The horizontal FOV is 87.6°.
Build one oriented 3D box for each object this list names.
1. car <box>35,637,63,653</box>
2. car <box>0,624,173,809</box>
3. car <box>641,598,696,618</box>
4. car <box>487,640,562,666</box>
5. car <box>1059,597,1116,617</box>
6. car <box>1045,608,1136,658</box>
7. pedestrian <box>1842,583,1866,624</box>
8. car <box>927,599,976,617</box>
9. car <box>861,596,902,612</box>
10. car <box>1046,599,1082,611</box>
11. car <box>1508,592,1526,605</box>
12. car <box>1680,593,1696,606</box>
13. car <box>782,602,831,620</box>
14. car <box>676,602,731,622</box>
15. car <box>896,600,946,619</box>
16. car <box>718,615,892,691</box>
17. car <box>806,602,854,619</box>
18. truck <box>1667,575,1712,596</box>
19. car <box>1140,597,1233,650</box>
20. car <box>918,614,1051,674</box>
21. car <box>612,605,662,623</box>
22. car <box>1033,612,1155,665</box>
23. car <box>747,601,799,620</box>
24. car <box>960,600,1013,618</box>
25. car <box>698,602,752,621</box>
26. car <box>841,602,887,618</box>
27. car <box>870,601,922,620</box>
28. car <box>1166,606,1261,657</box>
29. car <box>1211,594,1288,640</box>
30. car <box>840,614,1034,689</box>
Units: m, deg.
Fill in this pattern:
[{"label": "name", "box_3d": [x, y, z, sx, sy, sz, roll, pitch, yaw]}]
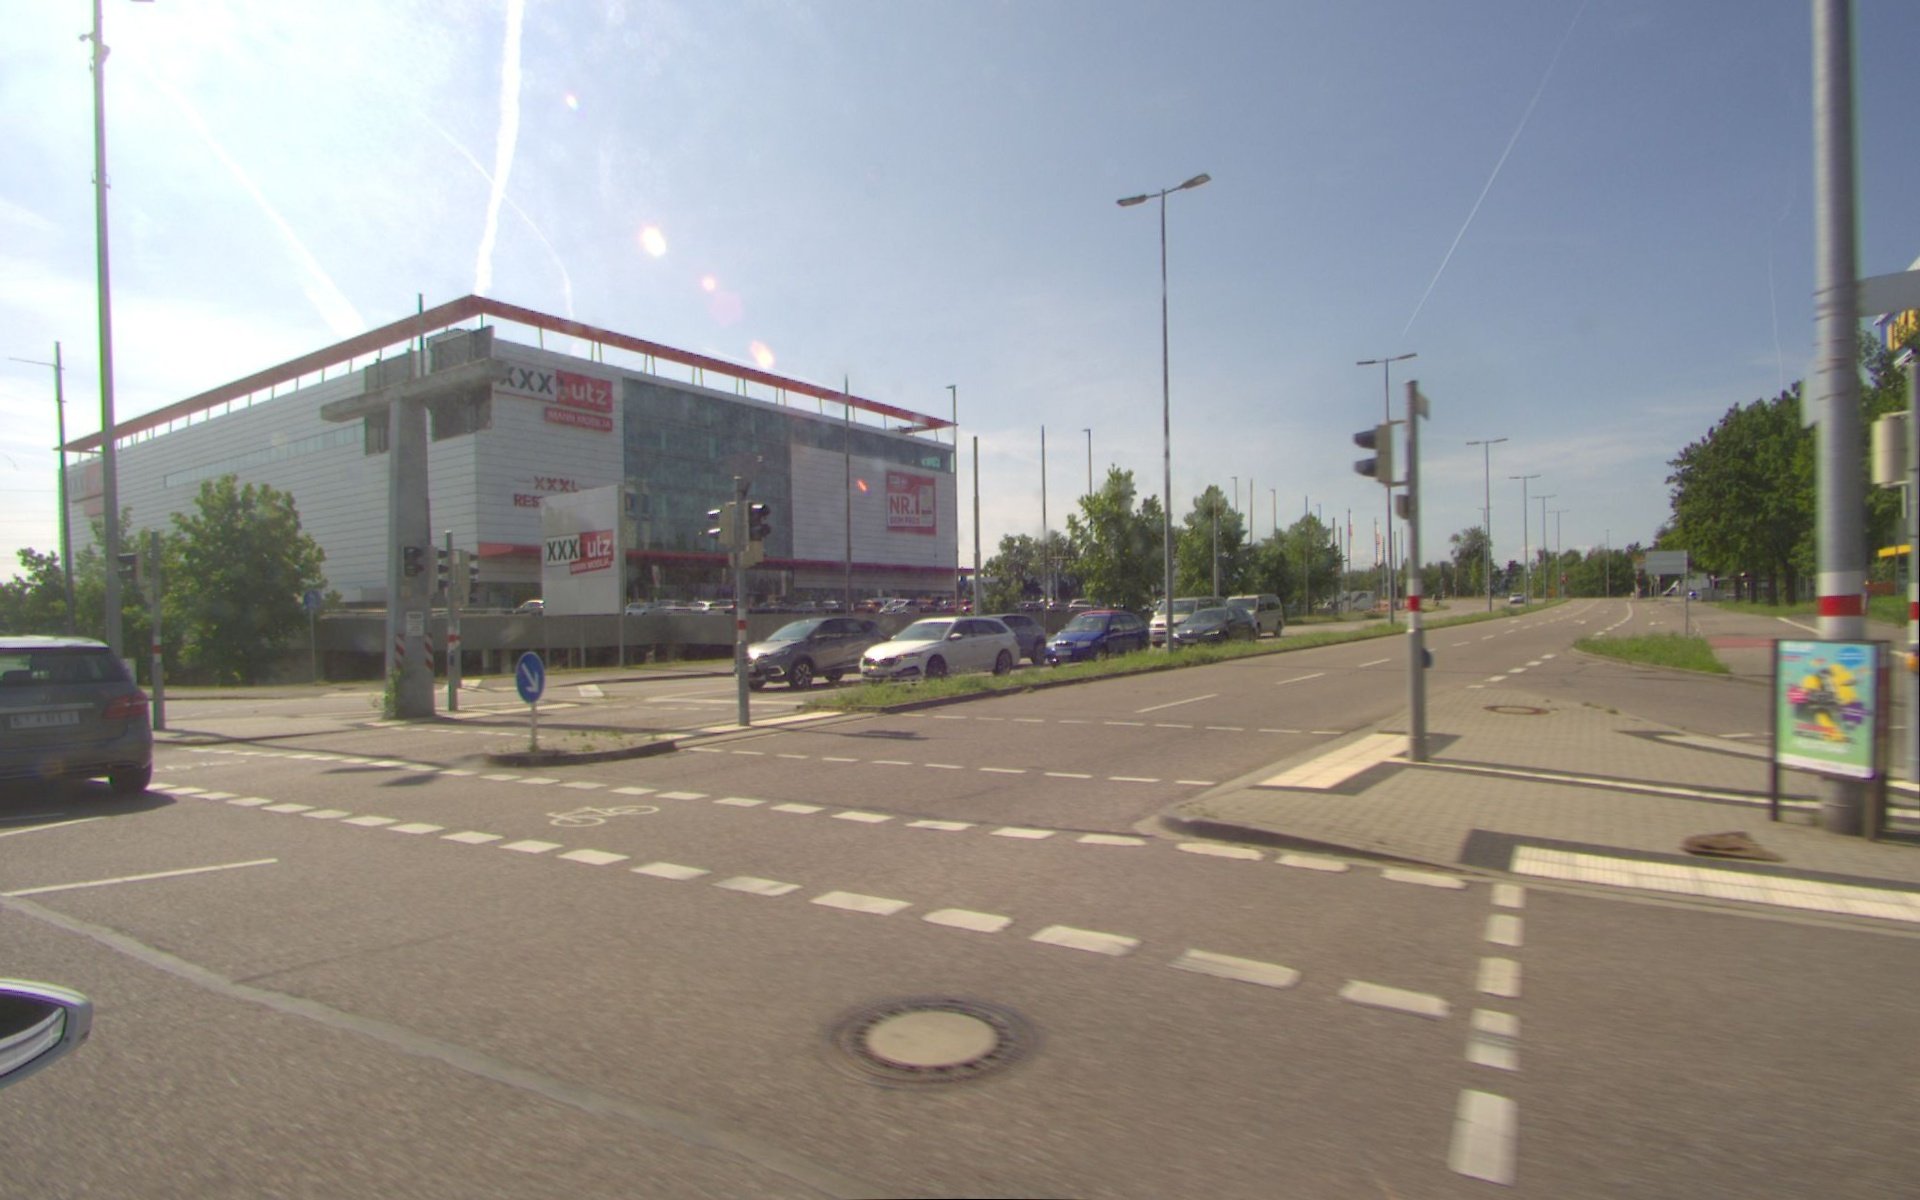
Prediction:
[{"label": "car", "box_3d": [-104.027, 5.081, 114.331, 4.041, 1.774, 1.667, -1, -1, 37]}, {"label": "car", "box_3d": [-9.583, 1.060, 9.909, 4.084, 1.558, 1.769, -2, -2, 36]}, {"label": "car", "box_3d": [-21.699, 0.591, 74.546, 3.952, 1.438, 1.795, -2, -1, 33]}, {"label": "car", "box_3d": [-27.294, 3.287, 62.925, 1.772, 1.542, 4.109, -1, -2, 28]}, {"label": "car", "box_3d": [10.028, 0.556, 78.797, 4.145, 1.438, 1.679, -2, -1, 36]}, {"label": "car", "box_3d": [4.482, 1.092, 34.166, 1.578, 1.596, 3.458, -1, -1, 37]}, {"label": "pedestrian", "box_3d": [45.834, 0.190, 51.359, 0.670, 2.038, 0.600, -1, -3, 19]}, {"label": "car", "box_3d": [-0.745, 0.693, 87.406, 4.145, 1.438, 1.679, -2, -1, 36]}, {"label": "car", "box_3d": [-8.125, 0.420, 103.767, 4.145, 1.641, 1.679, -2, -1, 36]}, {"label": "car", "box_3d": [13.159, 0.605, 126.831, 4.145, 1.438, 1.679, -2, -1, 36]}, {"label": "car", "box_3d": [77.689, -0.207, 139.762, 1.859, 1.706, 3.975, -2, 1, 34]}, {"label": "car", "box_3d": [95.982, -0.038, 131.956, 1.619, 1.555, 3.892, -1, -1, 35]}, {"label": "car", "box_3d": [-13.316, 0.939, 86.807, 4.144, 1.438, 1.799, -2, -1, 35]}, {"label": "car", "box_3d": [-19.598, 0.937, 76.430, 4.145, 1.438, 1.826, -2, -1, 36]}, {"label": "car", "box_3d": [-3.270, 0.803, 83.219, 3.957, 1.438, 1.734, -2, -1, 36]}, {"label": "car", "box_3d": [-3.541, 1.179, 23.437, 1.785, 1.578, 3.871, -2, -1, 37]}, {"label": "car", "box_3d": [-11.477, 0.971, 88.621, 4.145, 1.438, 1.731, -2, -1, 36]}, {"label": "truck", "box_3d": [122.165, -2.379, 167.747, 5.893, 3.065, 1.991, -3, -4, 32]}, {"label": "car", "box_3d": [9.282, 0.933, 40.809, 1.938, 2.001, 4.658, -3, -2, 36]}, {"label": "car", "box_3d": [0.775, 1.238, 28.961, 1.884, 1.528, 4.015, -3, -1, 35]}, {"label": "car", "box_3d": [-26.013, 1.140, 80.617, 3.858, 1.438, 1.682, -1, -1, 30]}, {"label": "car", "box_3d": [3.827, 1.059, 28.114, 1.701, 1.359, 4.032, -2, -2, 35]}, {"label": "car", "box_3d": [-15.540, 0.883, 82.989, 4.145, 1.438, 1.895, -2, -1, 36]}, {"label": "car", "box_3d": [2.151, 0.739, 82.653, 4.052, 1.438, 1.784, -2, -1, 33]}, {"label": "car", "box_3d": [-18.554, 0.904, 79.097, 4.145, 1.438, 1.866, -2, -1, 36]}, {"label": "car", "box_3d": [-8.955, 0.959, 93.061, 4.145, 1.438, 1.784, -2, -1, 36]}, {"label": "car", "box_3d": [-5.226, 0.863, 81.360, 4.145, 1.438, 1.679, -2, -1, 36]}, {"label": "car", "box_3d": [8.719, 1.036, 34.281, 1.663, 1.641, 4.102, -1, -1, 38]}, {"label": "car", "box_3d": [13.457, 0.772, 46.391, 1.890, 1.960, 4.760, -3, -2, 36]}, {"label": "car", "box_3d": [-0.394, 1.114, 22.763, 1.934, 1.444, 4.701, -3, -2, 36]}]
